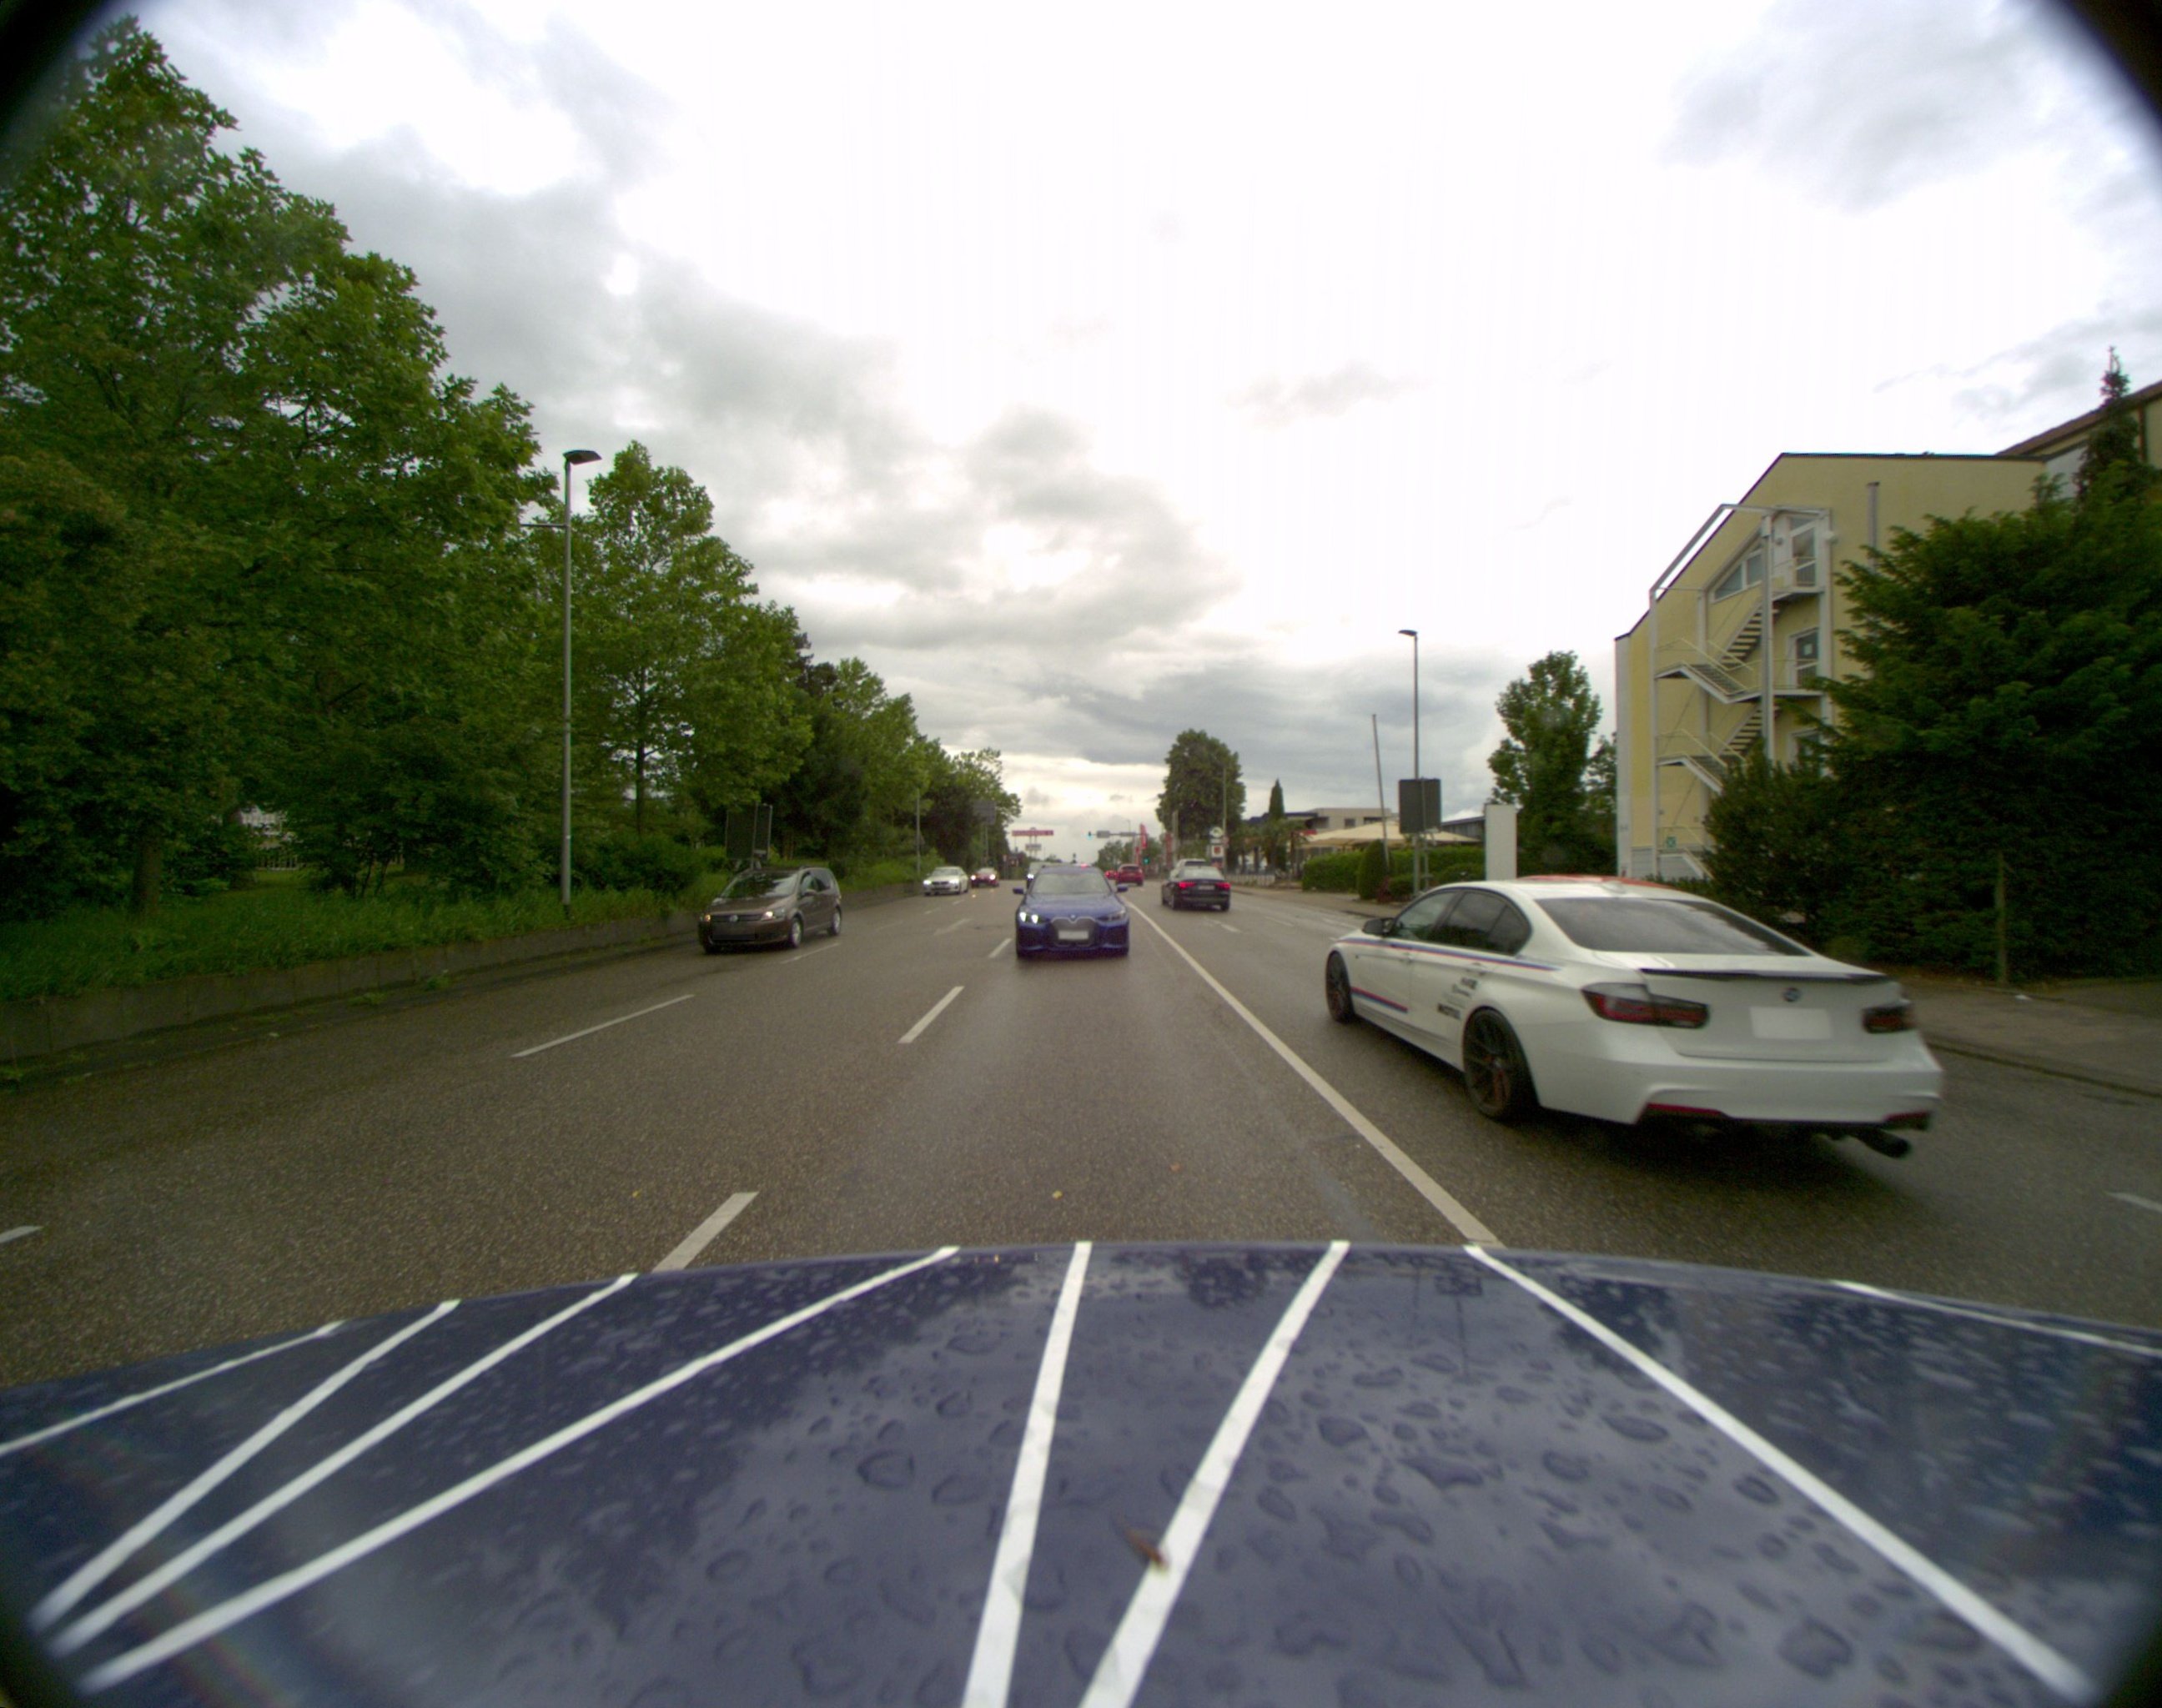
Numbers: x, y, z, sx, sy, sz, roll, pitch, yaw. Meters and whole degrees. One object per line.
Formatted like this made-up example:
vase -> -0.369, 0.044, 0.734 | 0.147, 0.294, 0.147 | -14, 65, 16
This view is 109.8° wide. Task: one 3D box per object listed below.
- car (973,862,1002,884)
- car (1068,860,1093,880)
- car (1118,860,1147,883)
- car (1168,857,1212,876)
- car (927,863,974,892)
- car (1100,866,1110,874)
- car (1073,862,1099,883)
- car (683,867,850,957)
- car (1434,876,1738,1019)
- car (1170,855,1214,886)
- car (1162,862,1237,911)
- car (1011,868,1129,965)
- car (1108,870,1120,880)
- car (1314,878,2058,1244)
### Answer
car -> -6.476, 1.337, 53.154 | 1.634, 1.447, 3.539 | -1, -2, -1
car -> -0.075, 1.334, 63.815 | 1.792, 1.571, 4.238 | -1, 0, -4
car -> 3.457, 1.167, 51.248 | 1.685, 1.411, 3.841 | 2, 0, 1
car -> 11.999, 1.407, 83.849 | 4.407, 2.001, 1.996 | 2, -2, -28
car -> -6.862, 1.248, 40.391 | 1.784, 1.447, 4.680 | -1, -2, -1
car -> 4.392, 2.854, 136.764 | 1.640, 1.468, 4.046 | 0, -1, 5
car -> 0.327, 1.411, 58.608 | 1.754, 1.499, 4.301 | 0, 0, -3
car -> -6.316, 1.109, 15.773 | 1.751, 1.599, 3.981 | -1, -2, 0
car -> 6.487, 1.096, 10.322 | 1.636, 1.448, 3.702 | 2, 0, 0
car -> 6.719, 0.963, 46.409 | 1.922, 1.752, 5.143 | 2, 0, 1
car -> 3.822, 1.014, 25.132 | 1.897, 1.395, 4.265 | 1, 0, 1
car -> -0.219, 1.024, 13.956 | 1.784, 1.447, 4.598 | -1, -2, -1
car -> 5.274, 3.369, 122.760 | 1.641, 1.524, 3.972 | 1, -1, -1
car -> 3.256, 0.959, 5.442 | 1.753, 1.377, 4.410 | 1, 0, -1
